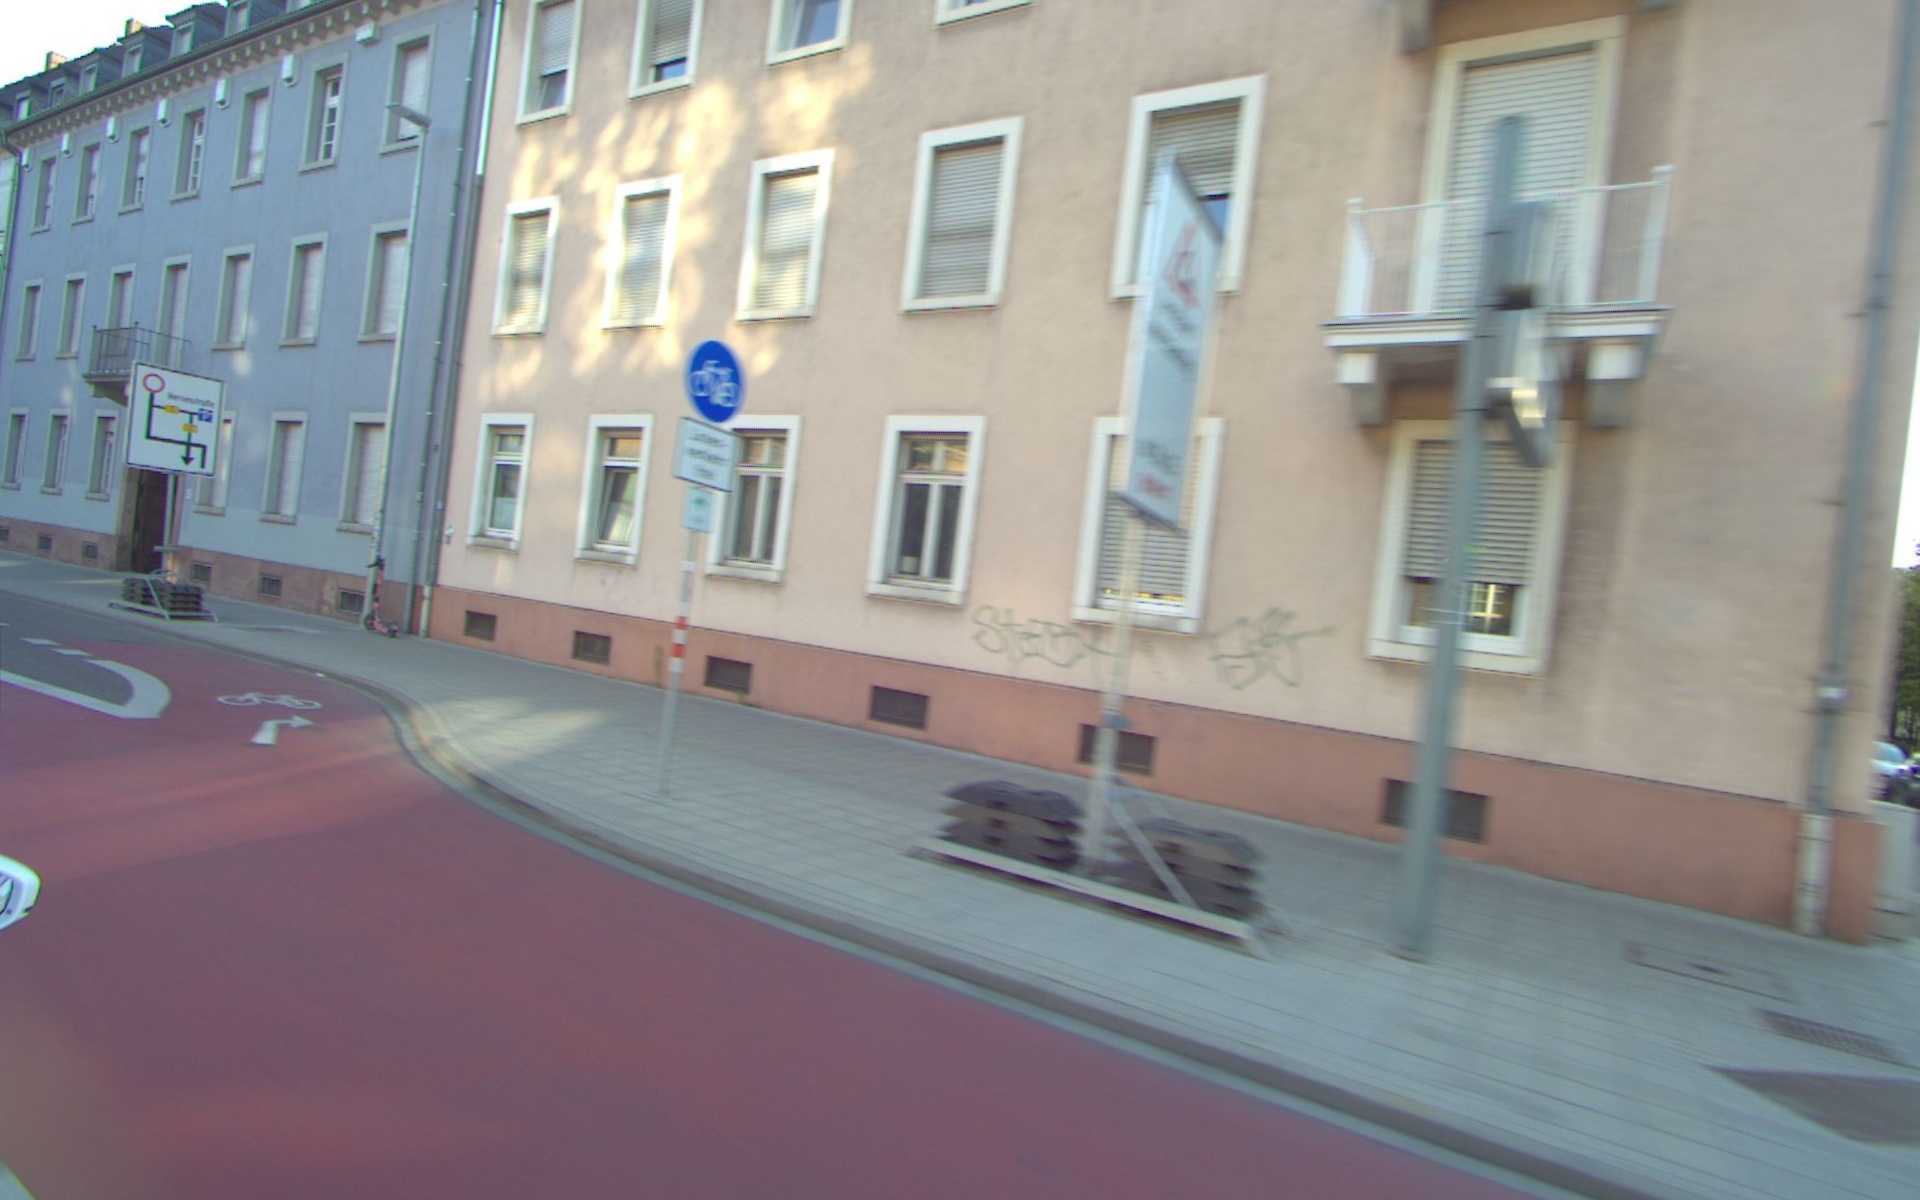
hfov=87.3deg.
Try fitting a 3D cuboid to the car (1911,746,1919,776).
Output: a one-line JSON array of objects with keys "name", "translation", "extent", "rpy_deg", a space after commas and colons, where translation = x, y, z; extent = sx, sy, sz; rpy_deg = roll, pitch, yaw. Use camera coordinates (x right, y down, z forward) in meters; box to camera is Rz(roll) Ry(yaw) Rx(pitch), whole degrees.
[{"name": "car", "translation": [52.204, 8.734, 53.441], "extent": [1.733, 1.555, 3.709], "rpy_deg": [6, -1, 34]}]

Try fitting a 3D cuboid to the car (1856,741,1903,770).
[{"name": "car", "translation": [63.853, 10.788, 69.886], "extent": [1.733, 1.555, 3.709], "rpy_deg": [6, -1, 34]}]

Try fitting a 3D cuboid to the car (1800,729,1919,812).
[{"name": "car", "translation": [24.070, 4.471, 26.854], "extent": [1.808, 1.643, 3.992], "rpy_deg": [9, 0, 32]}]

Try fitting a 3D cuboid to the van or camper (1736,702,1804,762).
[{"name": "van or camper", "translation": [43.637, 7.057, 54.322], "extent": [1.979, 2.782, 5.192], "rpy_deg": [9, 0, 33]}]

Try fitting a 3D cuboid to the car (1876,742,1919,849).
[{"name": "car", "translation": [17.187, 3.442, 17.095], "extent": [1.810, 1.643, 3.988], "rpy_deg": [9, 0, 37]}]

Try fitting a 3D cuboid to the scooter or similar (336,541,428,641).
[{"name": "scooter or similar", "translation": [-9.584, -0.158, 16.660], "extent": [1.648, 1.478, 0.724], "rpy_deg": [7, 2, 40]}]
